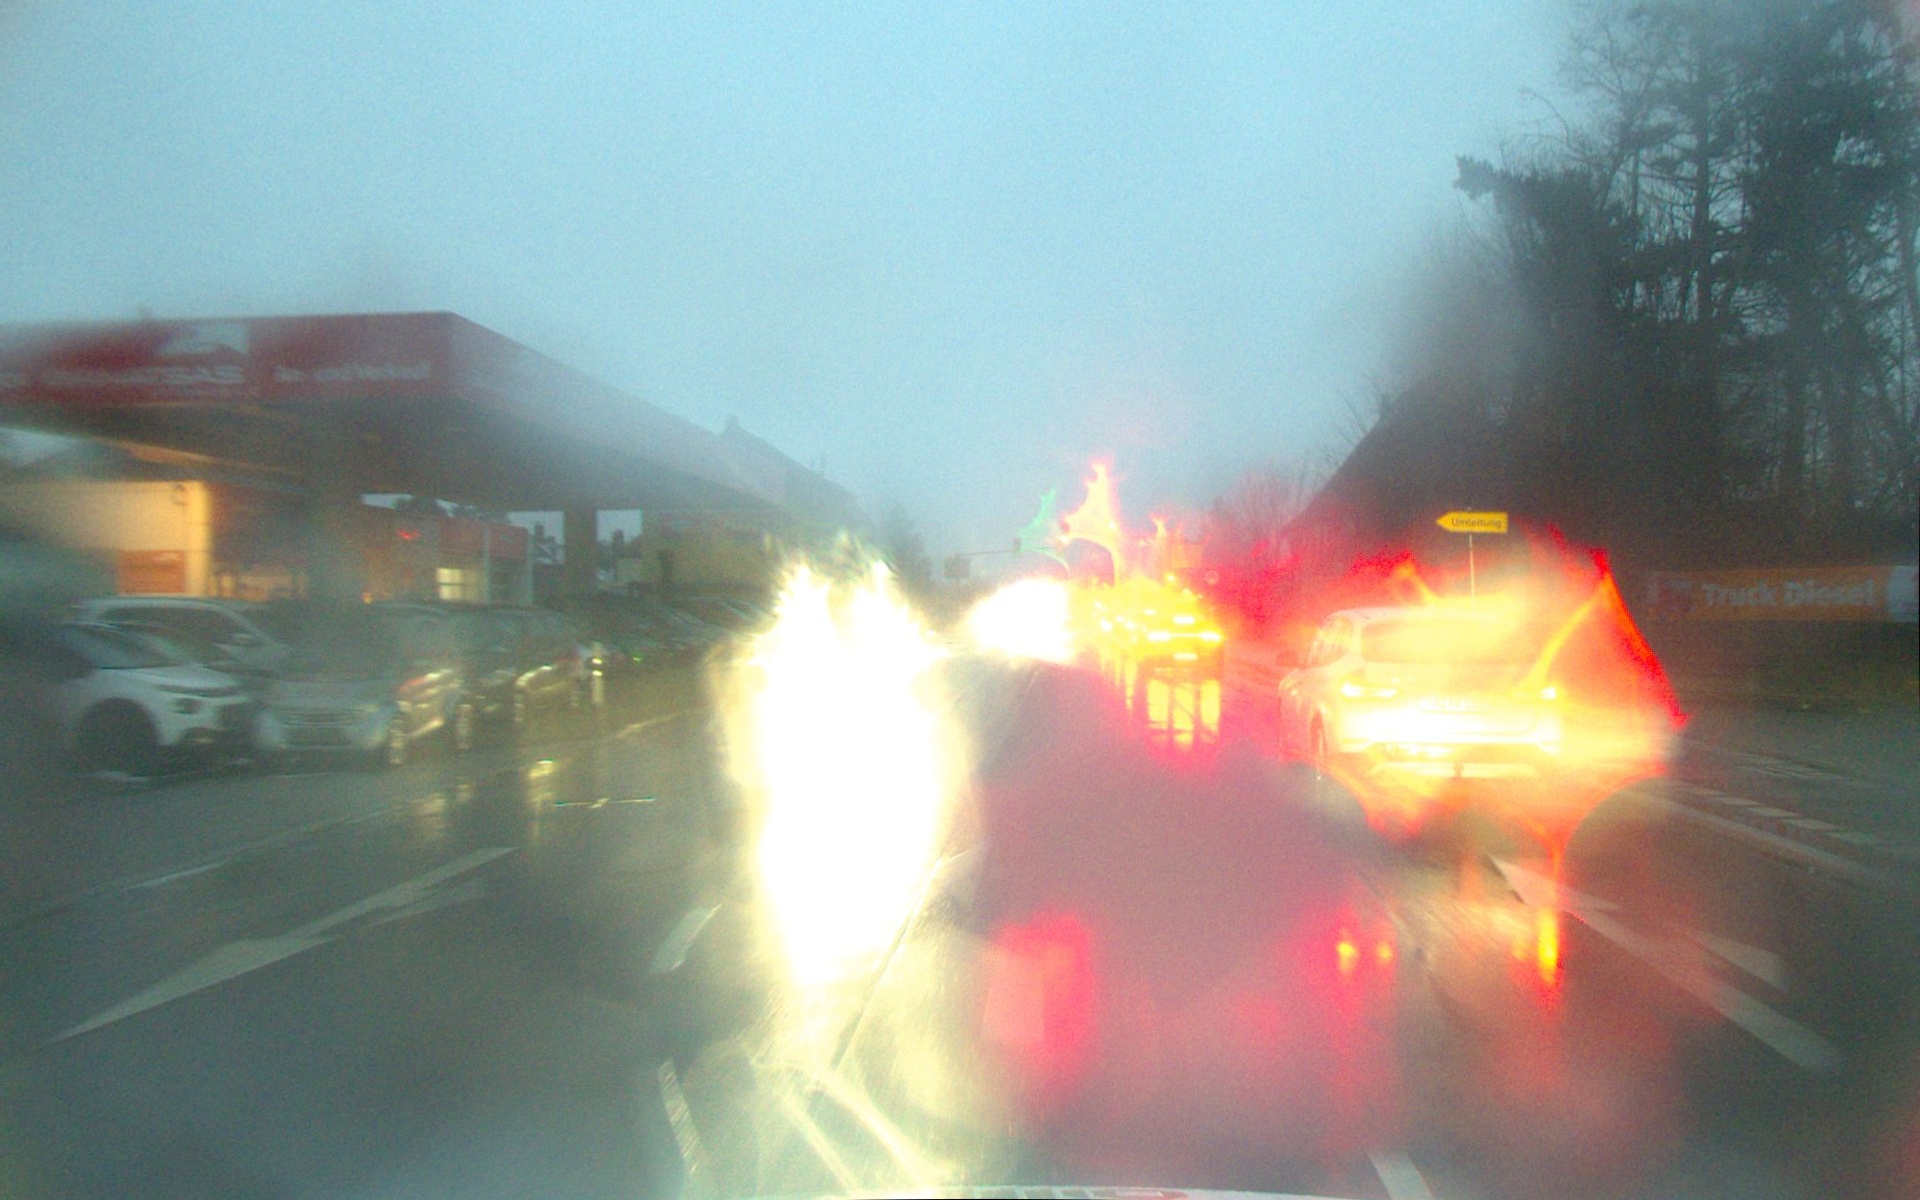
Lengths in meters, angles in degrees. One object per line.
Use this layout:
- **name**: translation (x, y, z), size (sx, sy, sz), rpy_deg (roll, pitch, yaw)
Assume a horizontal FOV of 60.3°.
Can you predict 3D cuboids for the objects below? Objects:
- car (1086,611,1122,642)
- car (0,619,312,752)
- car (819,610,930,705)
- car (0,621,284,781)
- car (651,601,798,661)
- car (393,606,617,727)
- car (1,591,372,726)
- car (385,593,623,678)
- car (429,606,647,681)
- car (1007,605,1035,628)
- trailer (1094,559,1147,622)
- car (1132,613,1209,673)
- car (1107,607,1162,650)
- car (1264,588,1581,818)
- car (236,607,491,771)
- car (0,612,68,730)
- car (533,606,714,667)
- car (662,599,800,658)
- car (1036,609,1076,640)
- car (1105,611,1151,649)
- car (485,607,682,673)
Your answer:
- **car**: translation (7.040, 1.297, 81.100), size (1.627, 1.464, 4.383), rpy_deg (1, -1, 3)
- **car**: translation (-9.729, 0.939, 19.043), size (3.777, 1.369, 1.840), rpy_deg (1, 0, 3)
- **car**: translation (-1.499, 0.999, 30.296), size (1.570, 1.561, 4.001), rpy_deg (-2, 0, 3)
- **car**: translation (-9.185, 0.986, 17.010), size (3.694, 1.485, 1.776), rpy_deg (1, 0, 1)
- **car**: translation (-7.402, 0.948, 52.261), size (4.187, 1.691, 2.001), rpy_deg (2, 0, 4)
- **car**: translation (-5.925, 0.819, 21.972), size (1.647, 1.445, 3.743), rpy_deg (0, 0, 5)
- **car**: translation (-10.089, 0.748, 21.763), size (3.961, 1.679, 1.943), rpy_deg (0, 0, 5)
- **car**: translation (-8.323, 0.635, 30.429), size (3.777, 1.434, 1.944), rpy_deg (1, 0, 3)
- **car**: translation (-8.276, 0.845, 32.638), size (3.777, 1.430, 1.840), rpy_deg (0, 0, 3)
- **car**: translation (4.976, 1.305, 134.233), size (1.951, 1.777, 4.003), rpy_deg (-2, -1, 7)
- **trailer**: translation (8.857, -0.433, 92.305), size (2.436, 3.297, 10.872), rpy_deg (0, -1, 3)
- **car**: translation (5.112, 1.016, 40.600), size (1.606, 1.390, 4.771), rpy_deg (0, -1, 4)
- **car**: translation (5.677, 0.909, 54.213), size (1.618, 1.359, 4.274), rpy_deg (0, 0, 4)
- **car**: translation (3.643, 0.728, 13.806), size (1.672, 1.603, 4.466), rpy_deg (0, 0, 4)
- **car**: translation (-6.348, 0.888, 17.914), size (1.486, 1.570, 3.016), rpy_deg (-2, 0, 3)
- **car**: translation (-13.458, 0.930, 21.109), size (1.795, 1.515, 3.873), rpy_deg (1, 0, 5)
- **car**: translation (-7.786, 0.841, 38.452), size (3.777, 1.369, 1.840), rpy_deg (0, 0, 3)
- **car**: translation (-7.624, 0.934, 55.343), size (4.187, 1.794, 2.001), rpy_deg (2, 0, 4)
- **car**: translation (5.244, 1.327, 90.888), size (2.005, 1.600, 4.703), rpy_deg (-1, -1, 1)
- **car**: translation (7.409, 1.320, 73.272), size (1.798, 1.596, 4.505), rpy_deg (1, 0, 3)
- **car**: translation (-8.060, 0.846, 35.646), size (3.777, 1.369, 1.840), rpy_deg (0, 0, 3)
